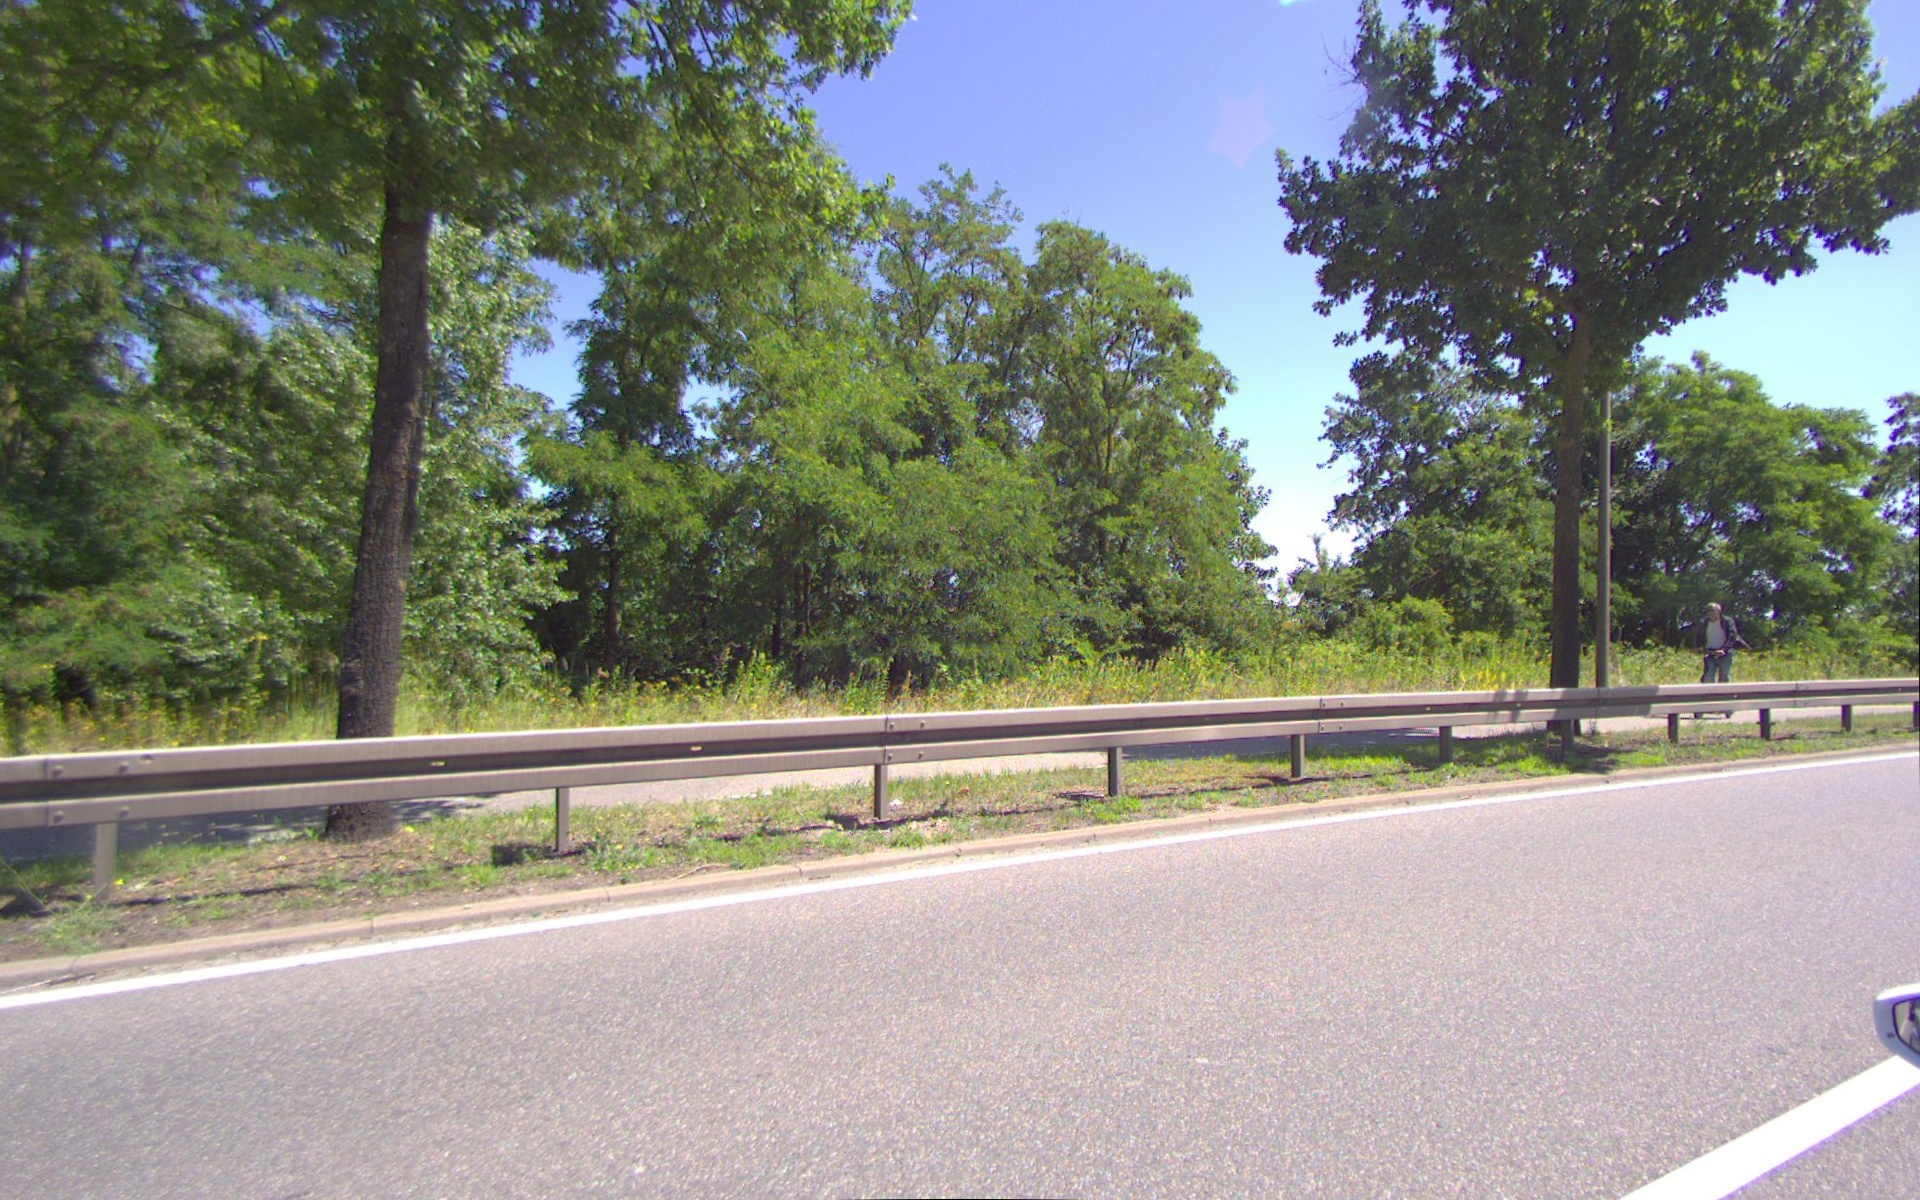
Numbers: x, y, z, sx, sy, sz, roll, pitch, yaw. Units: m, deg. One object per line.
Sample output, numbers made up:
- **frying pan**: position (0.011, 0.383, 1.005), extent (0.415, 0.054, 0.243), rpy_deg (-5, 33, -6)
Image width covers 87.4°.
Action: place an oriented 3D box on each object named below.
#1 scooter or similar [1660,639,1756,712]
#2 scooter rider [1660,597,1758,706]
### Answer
- **scooter or similar**: position (11.970, 1.193, 16.083), extent (1.079, 1.105, 0.775), rpy_deg (2, 0, -23)
- **scooter rider**: position (12.000, 0.811, 16.097), extent (1.104, 1.679, 0.775), rpy_deg (2, 0, -22)
